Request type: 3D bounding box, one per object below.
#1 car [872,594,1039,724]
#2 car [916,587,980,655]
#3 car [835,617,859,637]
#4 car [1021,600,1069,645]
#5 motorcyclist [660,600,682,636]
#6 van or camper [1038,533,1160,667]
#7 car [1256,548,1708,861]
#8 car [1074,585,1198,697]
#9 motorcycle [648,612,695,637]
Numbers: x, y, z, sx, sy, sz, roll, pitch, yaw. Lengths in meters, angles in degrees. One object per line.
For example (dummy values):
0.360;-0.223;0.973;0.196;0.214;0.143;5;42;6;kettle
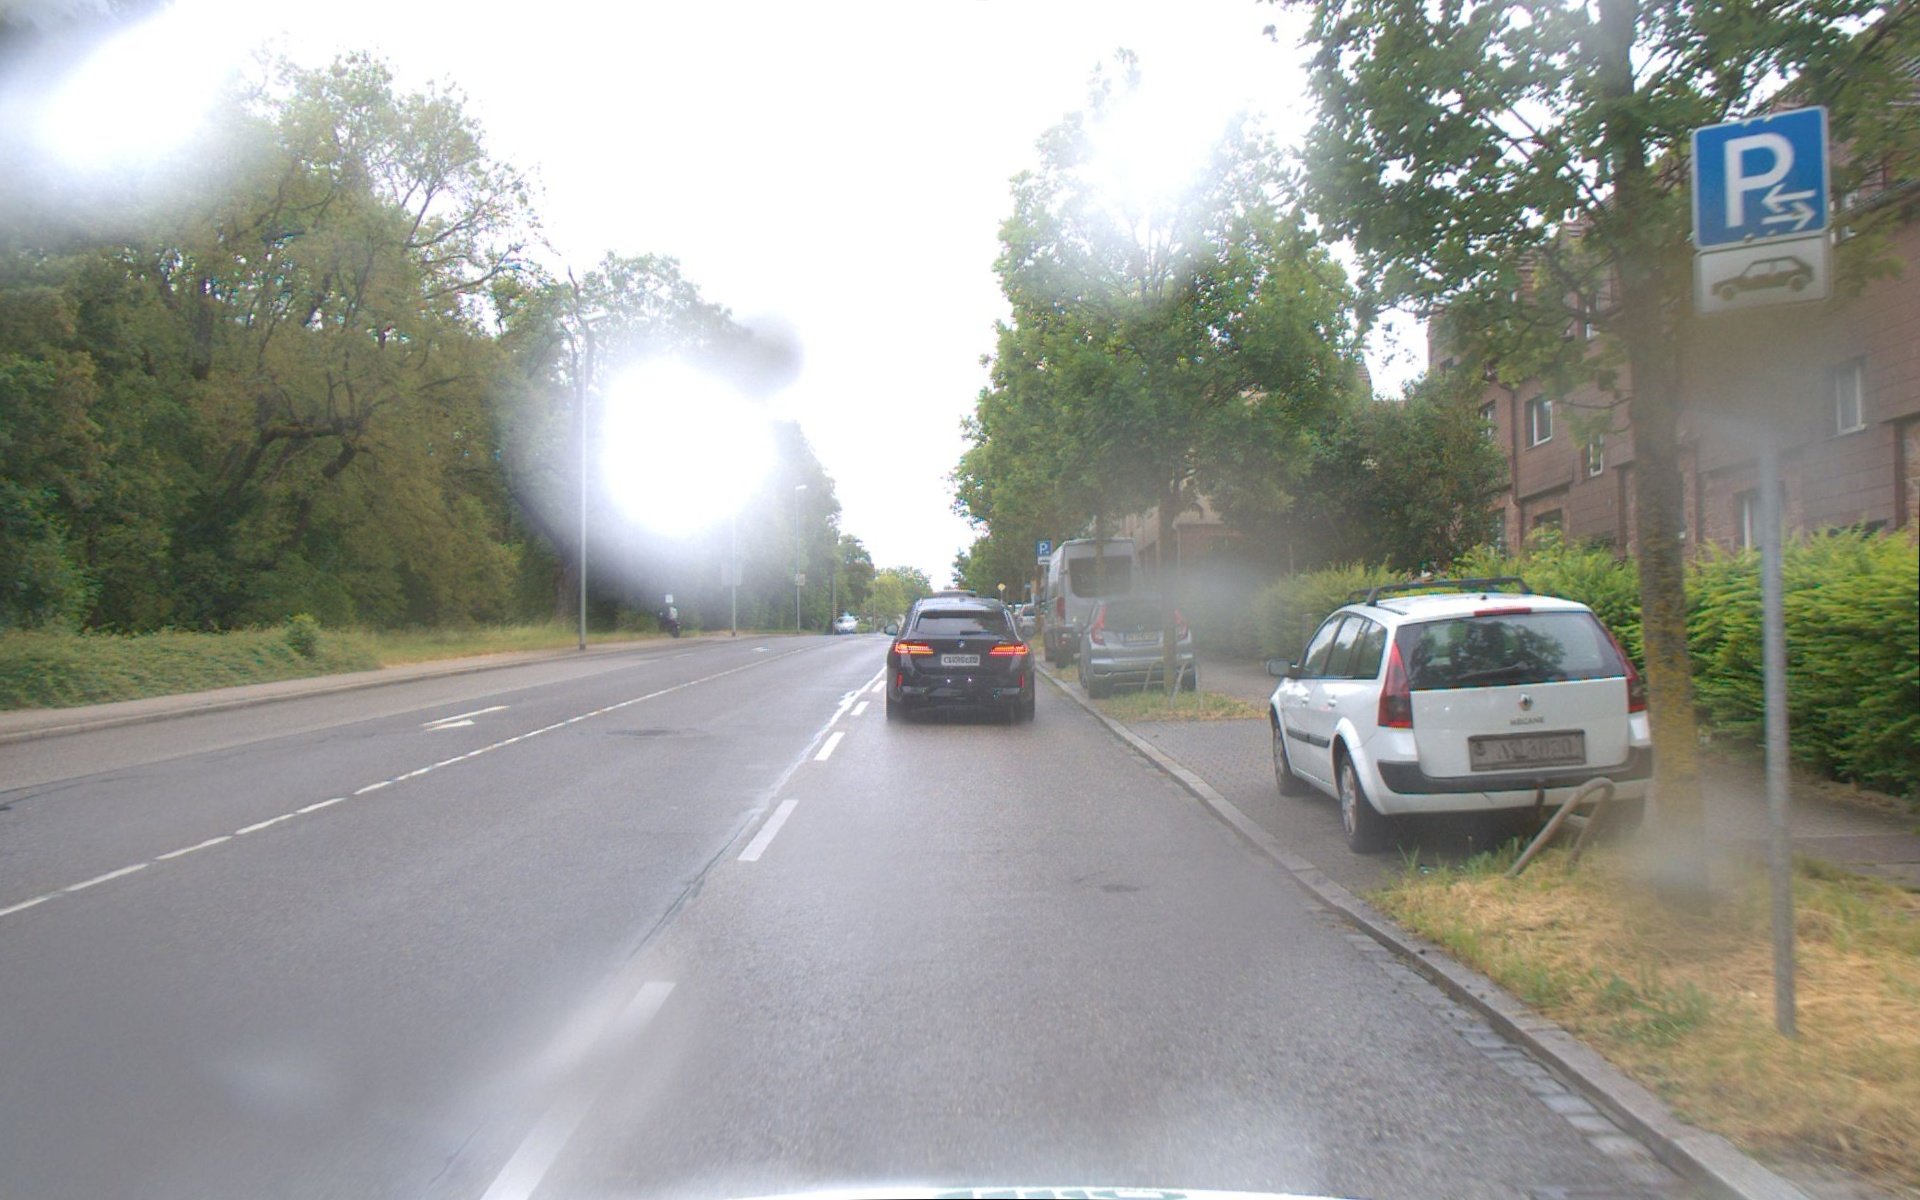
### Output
-0.084;0.731;21.804;1.953;1.478;3.999;2;-1;-1;car
-0.352;0.673;52.106;1.952;2.049;4.000;0;-1;0;car
-8.870;2.094;129.755;1.655;1.509;4.450;-2;-1;-2;car
3.368;0.866;66.118;1.667;1.611;4.643;-4;0;1;car
-13.531;0.841;77.550;0.636;1.710;0.812;1;0;27;motorcyclist
3.062;-0.019;38.038;2.152;2.697;7.301;-2;0;0;van or camper
3.232;0.563;11.226;1.786;1.630;4.475;-2;0;3;car
2.741;0.609;26.395;1.634;1.555;3.833;-3;0;2;car
-13.522;1.138;77.543;2.140;1.137;0.823;1;0;28;motorcycle
